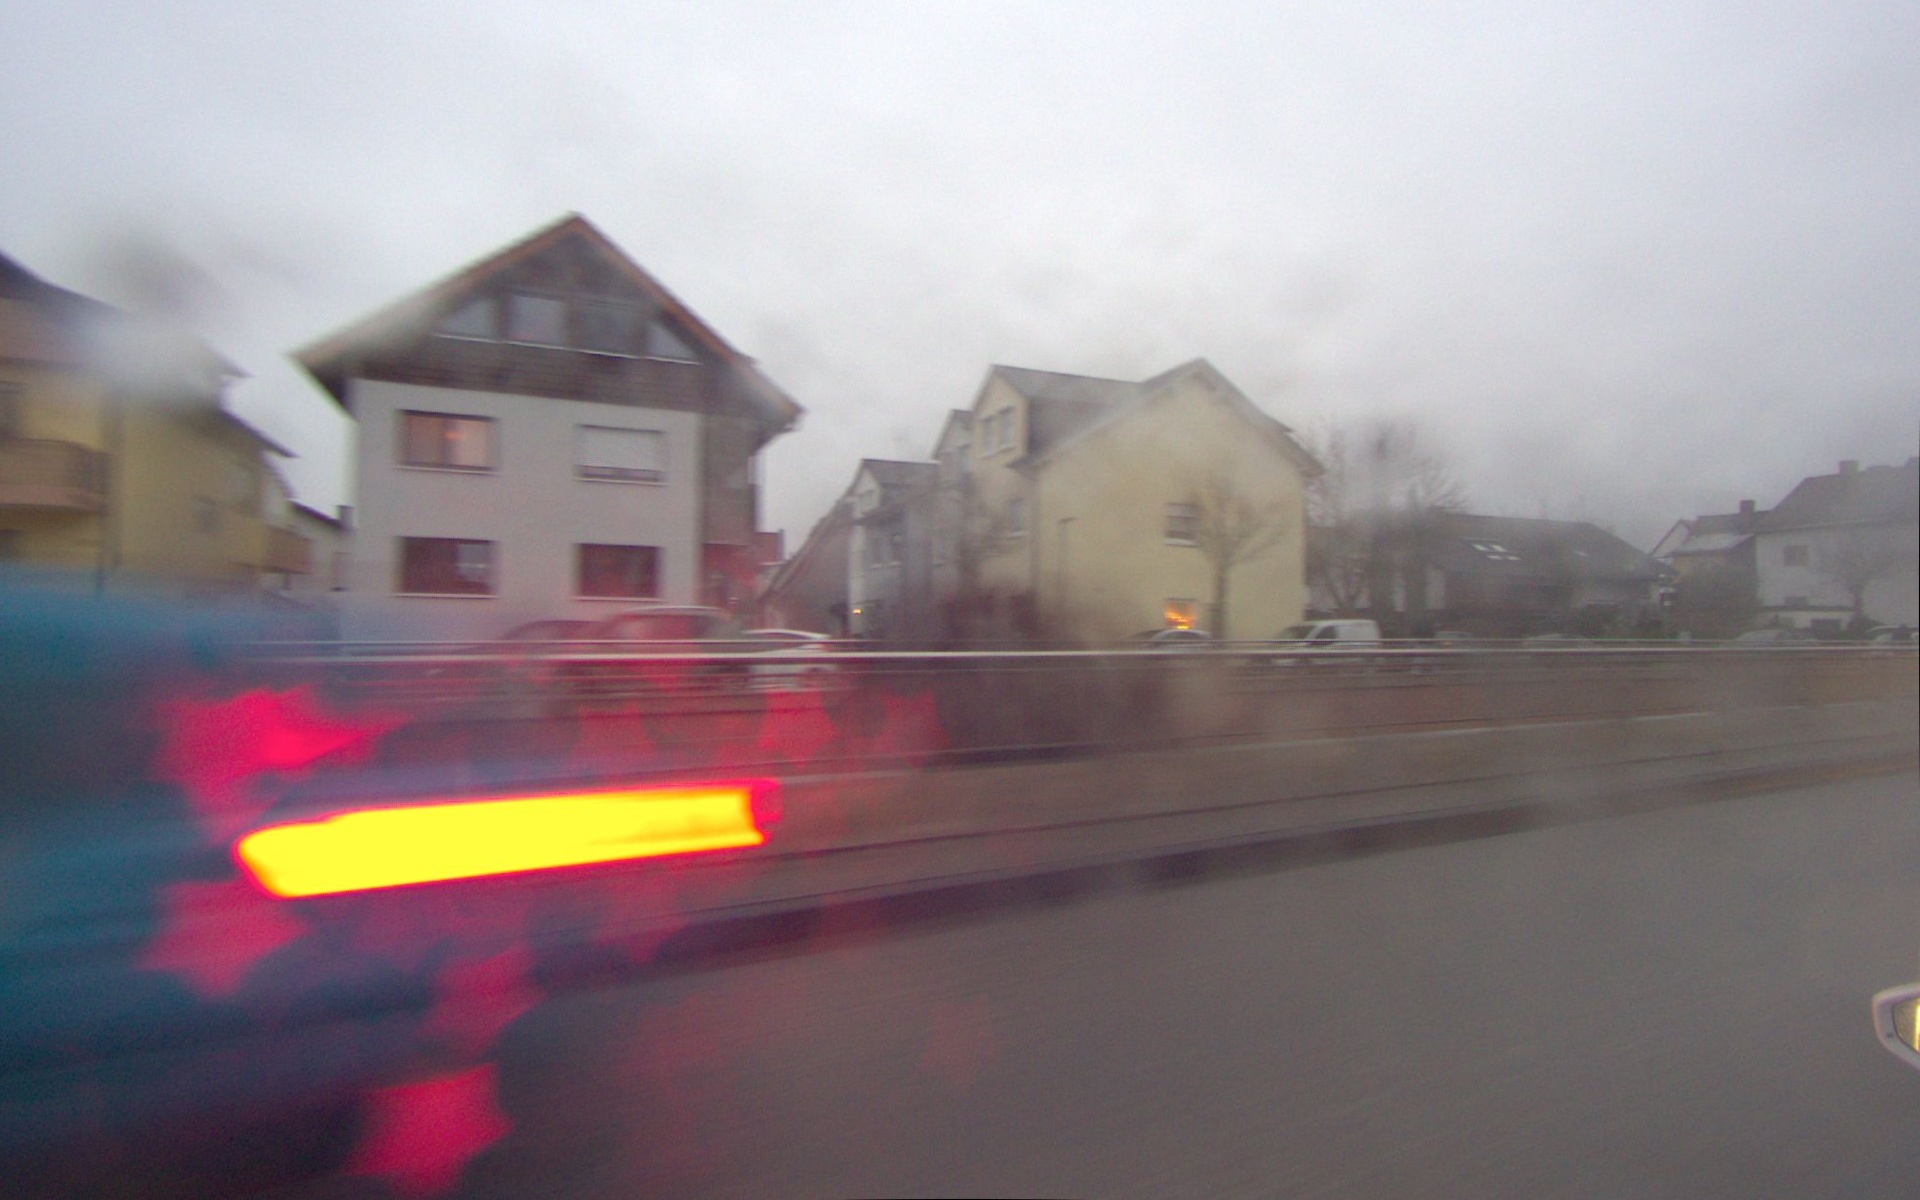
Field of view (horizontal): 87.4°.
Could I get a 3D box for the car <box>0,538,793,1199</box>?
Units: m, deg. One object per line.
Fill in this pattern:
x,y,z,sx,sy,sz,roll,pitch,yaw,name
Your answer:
-2.354,0.668,1.643,3.737,1.557,1.723,1,1,-30,car

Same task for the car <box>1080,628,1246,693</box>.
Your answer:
5.537,1.613,27.402,4.169,1.619,1.868,0,-3,-26,car

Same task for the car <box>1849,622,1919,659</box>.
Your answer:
45.003,1.917,47.531,1.836,1.716,3.982,0,-3,-21,car

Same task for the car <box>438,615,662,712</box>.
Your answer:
-8.156,1.201,20.043,3.949,1.704,1.851,1,1,-28,car

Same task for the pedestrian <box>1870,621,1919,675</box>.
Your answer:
32.092,1.641,34.462,0.957,1.808,0.927,0,0,-17,pedestrian

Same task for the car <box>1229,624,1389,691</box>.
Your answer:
10.307,1.666,29.625,4.442,1.802,1.868,0,-3,-26,car

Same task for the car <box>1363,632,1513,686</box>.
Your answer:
15.271,1.857,32.055,4.438,1.593,1.870,0,-3,-24,car

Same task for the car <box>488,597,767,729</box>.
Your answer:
-5.141,0.943,15.612,3.817,1.827,1.791,2,-2,-31,car

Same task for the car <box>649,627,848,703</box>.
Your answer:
-4.665,1.391,22.189,3.980,1.543,1.762,2,-2,-27,car

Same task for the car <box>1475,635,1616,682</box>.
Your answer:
19.802,1.954,33.960,4.438,1.452,1.870,0,-3,-24,car
